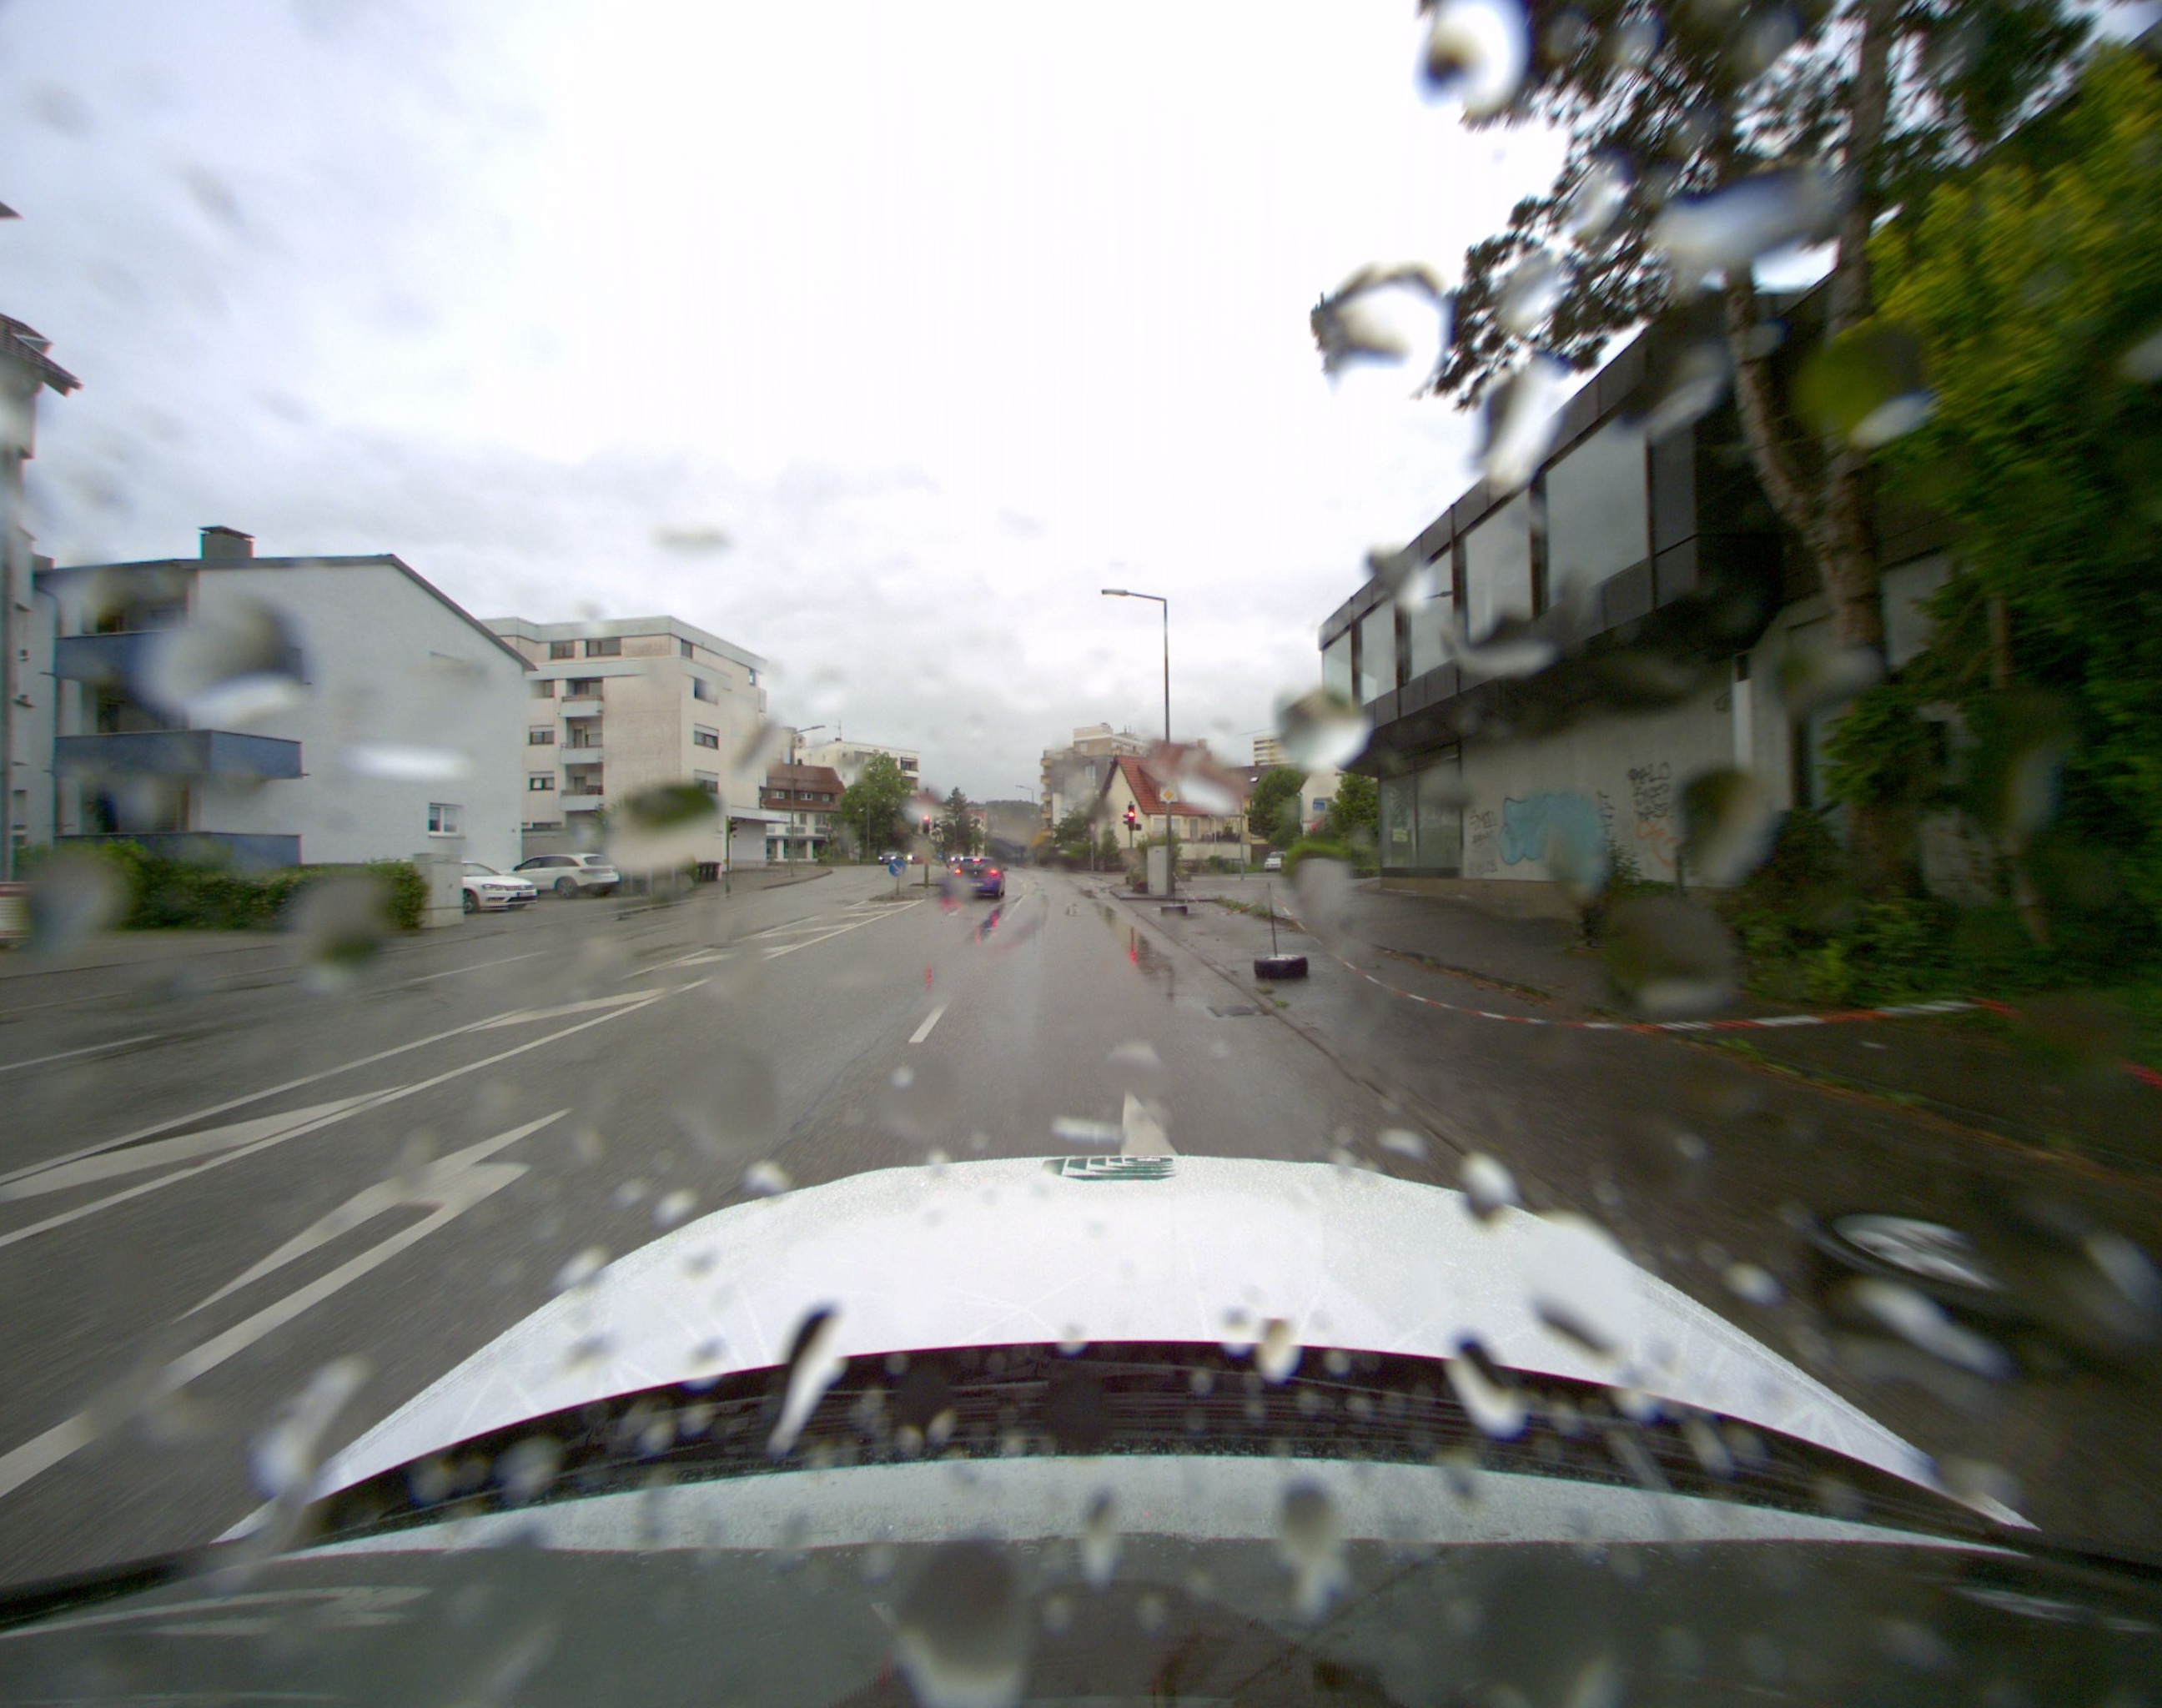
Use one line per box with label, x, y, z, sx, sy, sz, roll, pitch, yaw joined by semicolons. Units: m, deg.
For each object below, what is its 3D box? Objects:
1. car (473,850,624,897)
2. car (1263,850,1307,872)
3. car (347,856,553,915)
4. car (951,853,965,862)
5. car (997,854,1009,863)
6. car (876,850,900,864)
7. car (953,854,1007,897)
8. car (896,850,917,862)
car;-19.485;0.696;29.895;4.425;1.636;1.944;-1;0;8
car;14.763;0.499;58.890;1.722;1.514;4.026;0;0;35
car;-17.259;0.828;22.407;4.201;1.474;1.906;-1;0;3
car;-19.787;0.525;130.742;1.774;1.420;3.828;0;0;-2
car;-14.025;0.842;147.434;1.808;1.486;4.187;-1;0;-1
car;-20.328;0.259;85.949;1.774;1.420;3.828;0;0;-2
car;-3.523;0.724;28.780;1.574;1.410;3.268;0;0;-2
car;-19.921;0.216;93.181;1.711;1.387;4.017;0;0;-2
